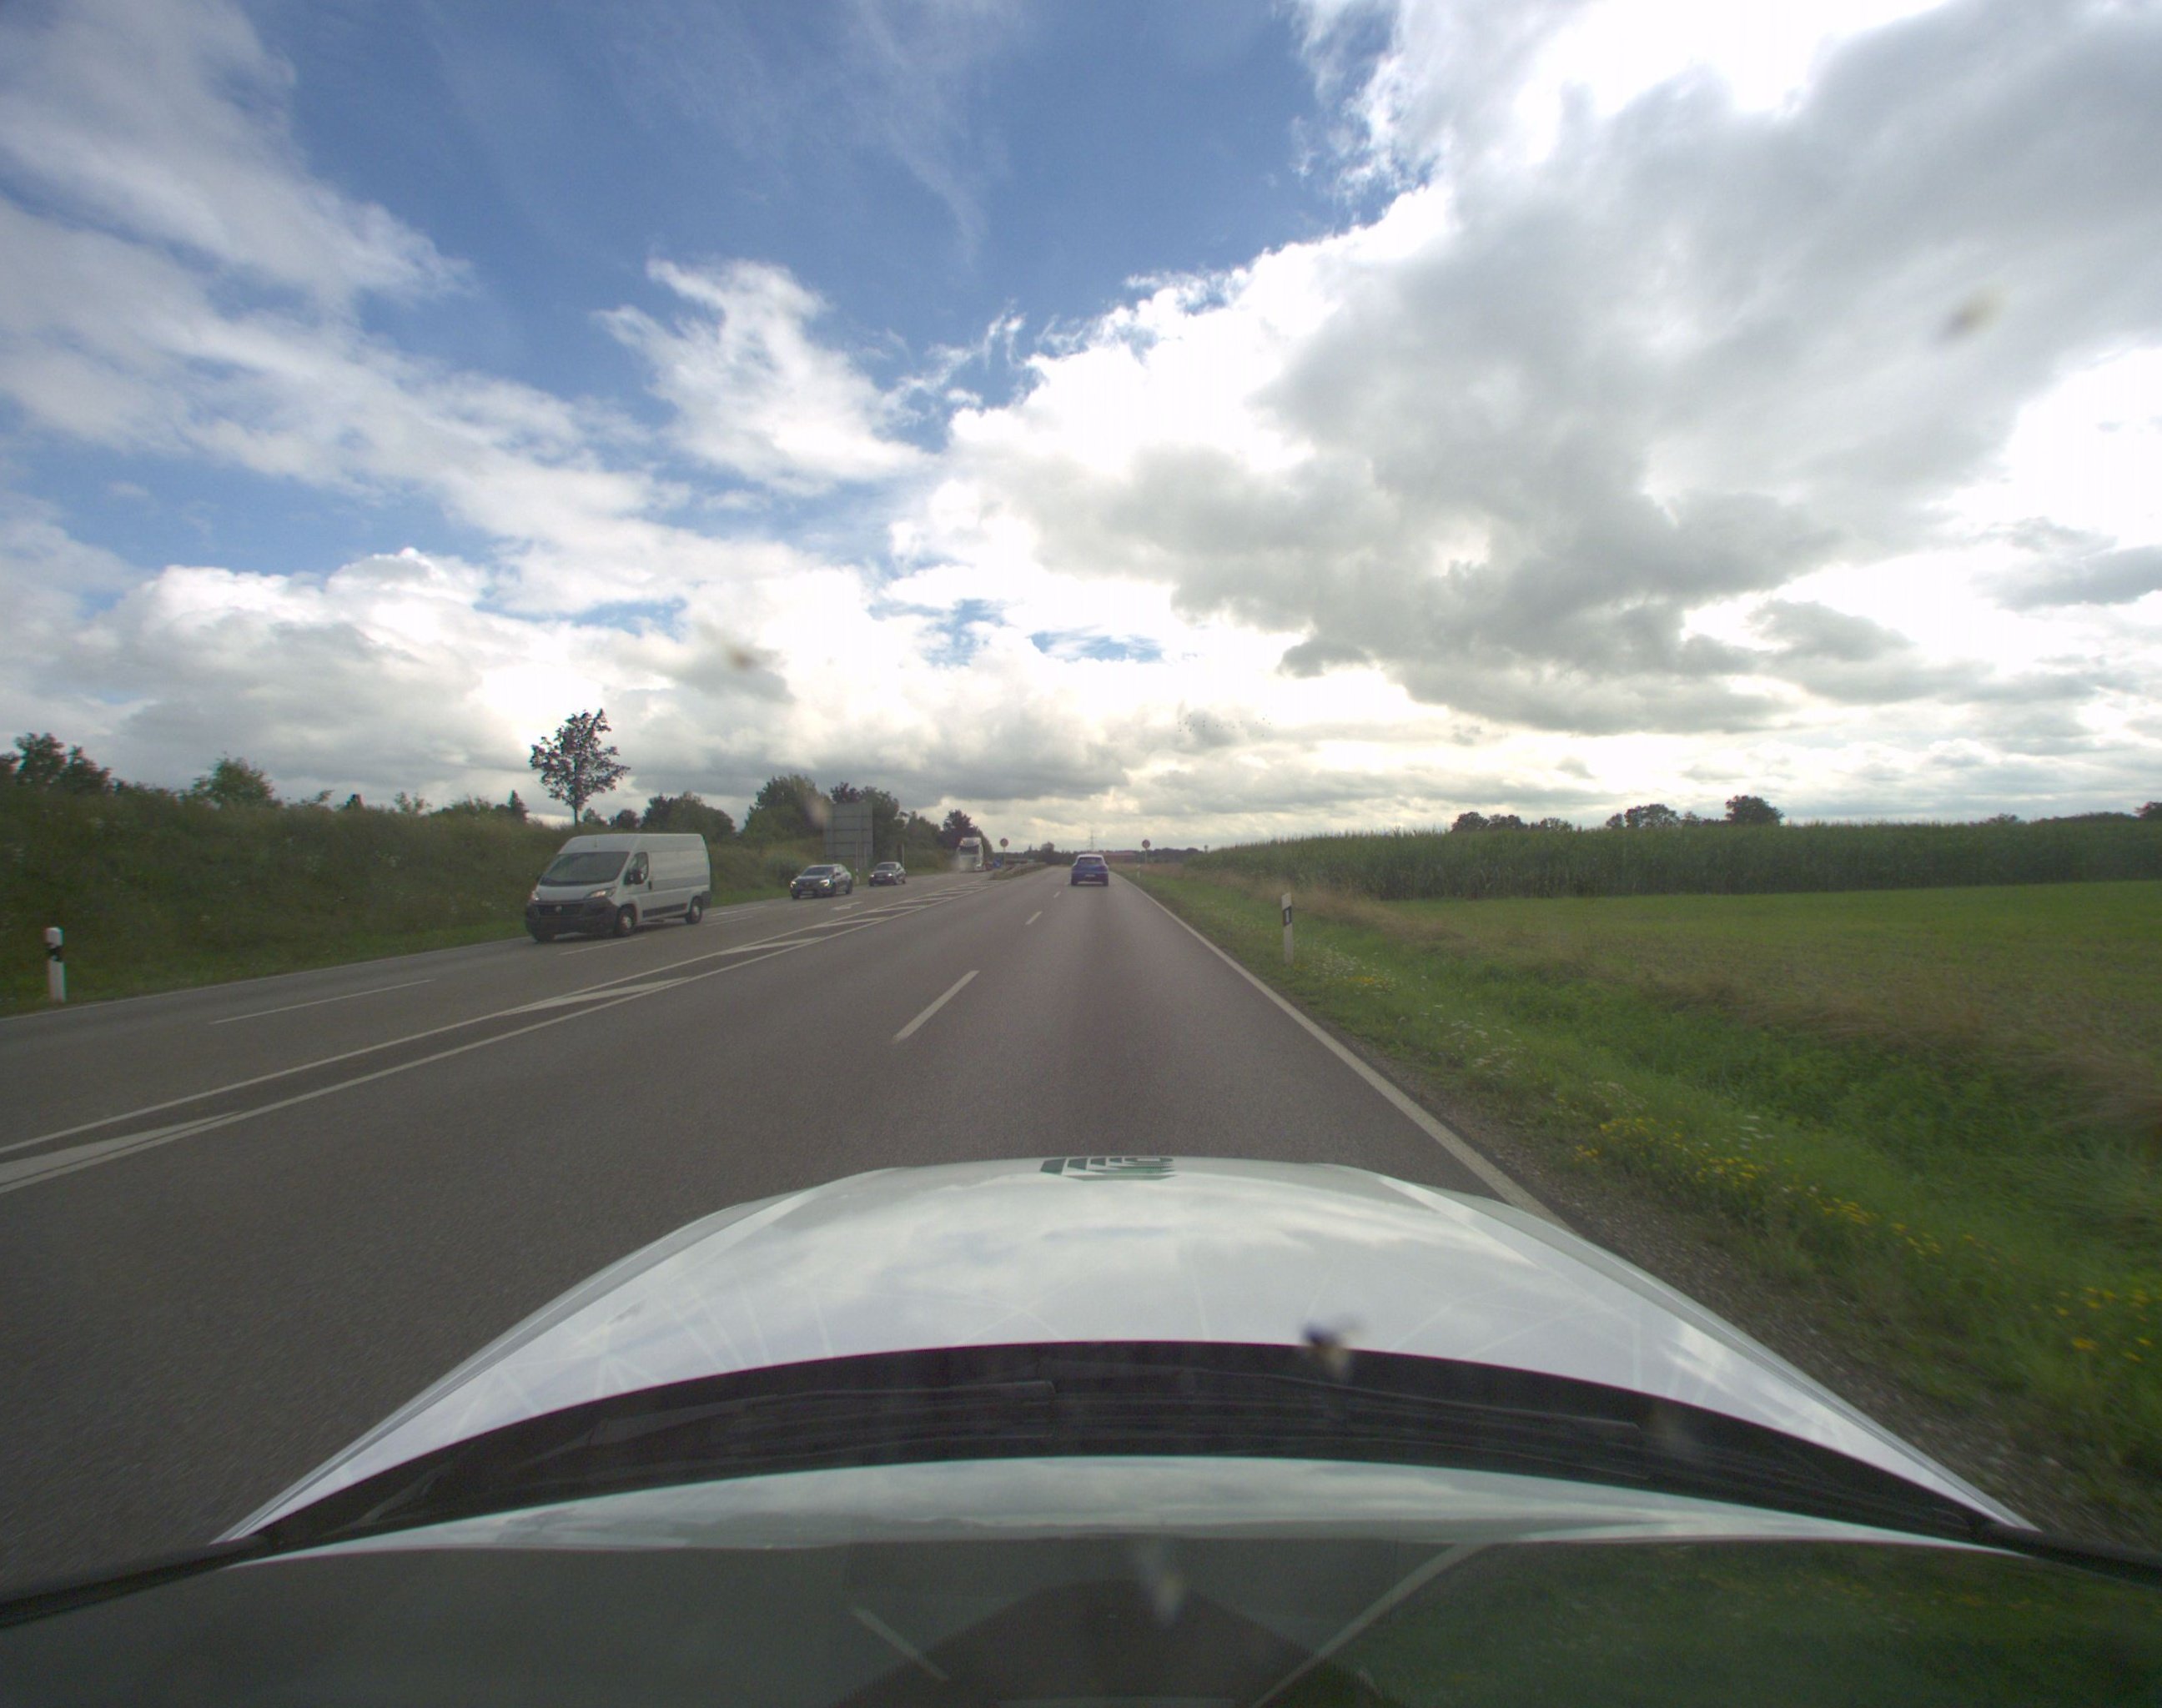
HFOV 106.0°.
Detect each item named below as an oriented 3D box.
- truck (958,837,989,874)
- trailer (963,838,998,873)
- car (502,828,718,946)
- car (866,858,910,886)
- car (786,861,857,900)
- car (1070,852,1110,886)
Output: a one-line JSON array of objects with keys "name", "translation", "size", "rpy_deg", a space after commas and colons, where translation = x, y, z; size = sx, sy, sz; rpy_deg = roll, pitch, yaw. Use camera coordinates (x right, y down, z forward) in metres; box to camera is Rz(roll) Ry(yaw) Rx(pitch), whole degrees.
[{"name": "truck", "translation": [-12.186, 0.137, 93.026], "size": [2.794, 3.997, 5.285], "rpy_deg": [-1, 0, -1]}, {"name": "trailer", "translation": [-12.270, 0.141, 100.273], "size": [2.767, 3.947, 12.980], "rpy_deg": [-1, 0, -1]}, {"name": "car", "translation": [-11.361, 0.690, 20.297], "size": [2.027, 2.439, 5.634], "rpy_deg": [-3, 0, -1]}, {"name": "car", "translation": [-11.943, 1.066, 50.594], "size": [1.727, 1.530, 4.192], "rpy_deg": [-2, 0, -1]}, {"name": "car", "translation": [-11.662, 1.154, 36.947], "size": [1.727, 1.530, 4.547], "rpy_deg": [-2, 0, -1]}, {"name": "car", "translation": [0.437, 0.761, 43.155], "size": [2.027, 1.660, 4.541], "rpy_deg": [0, 0, -1]}]
